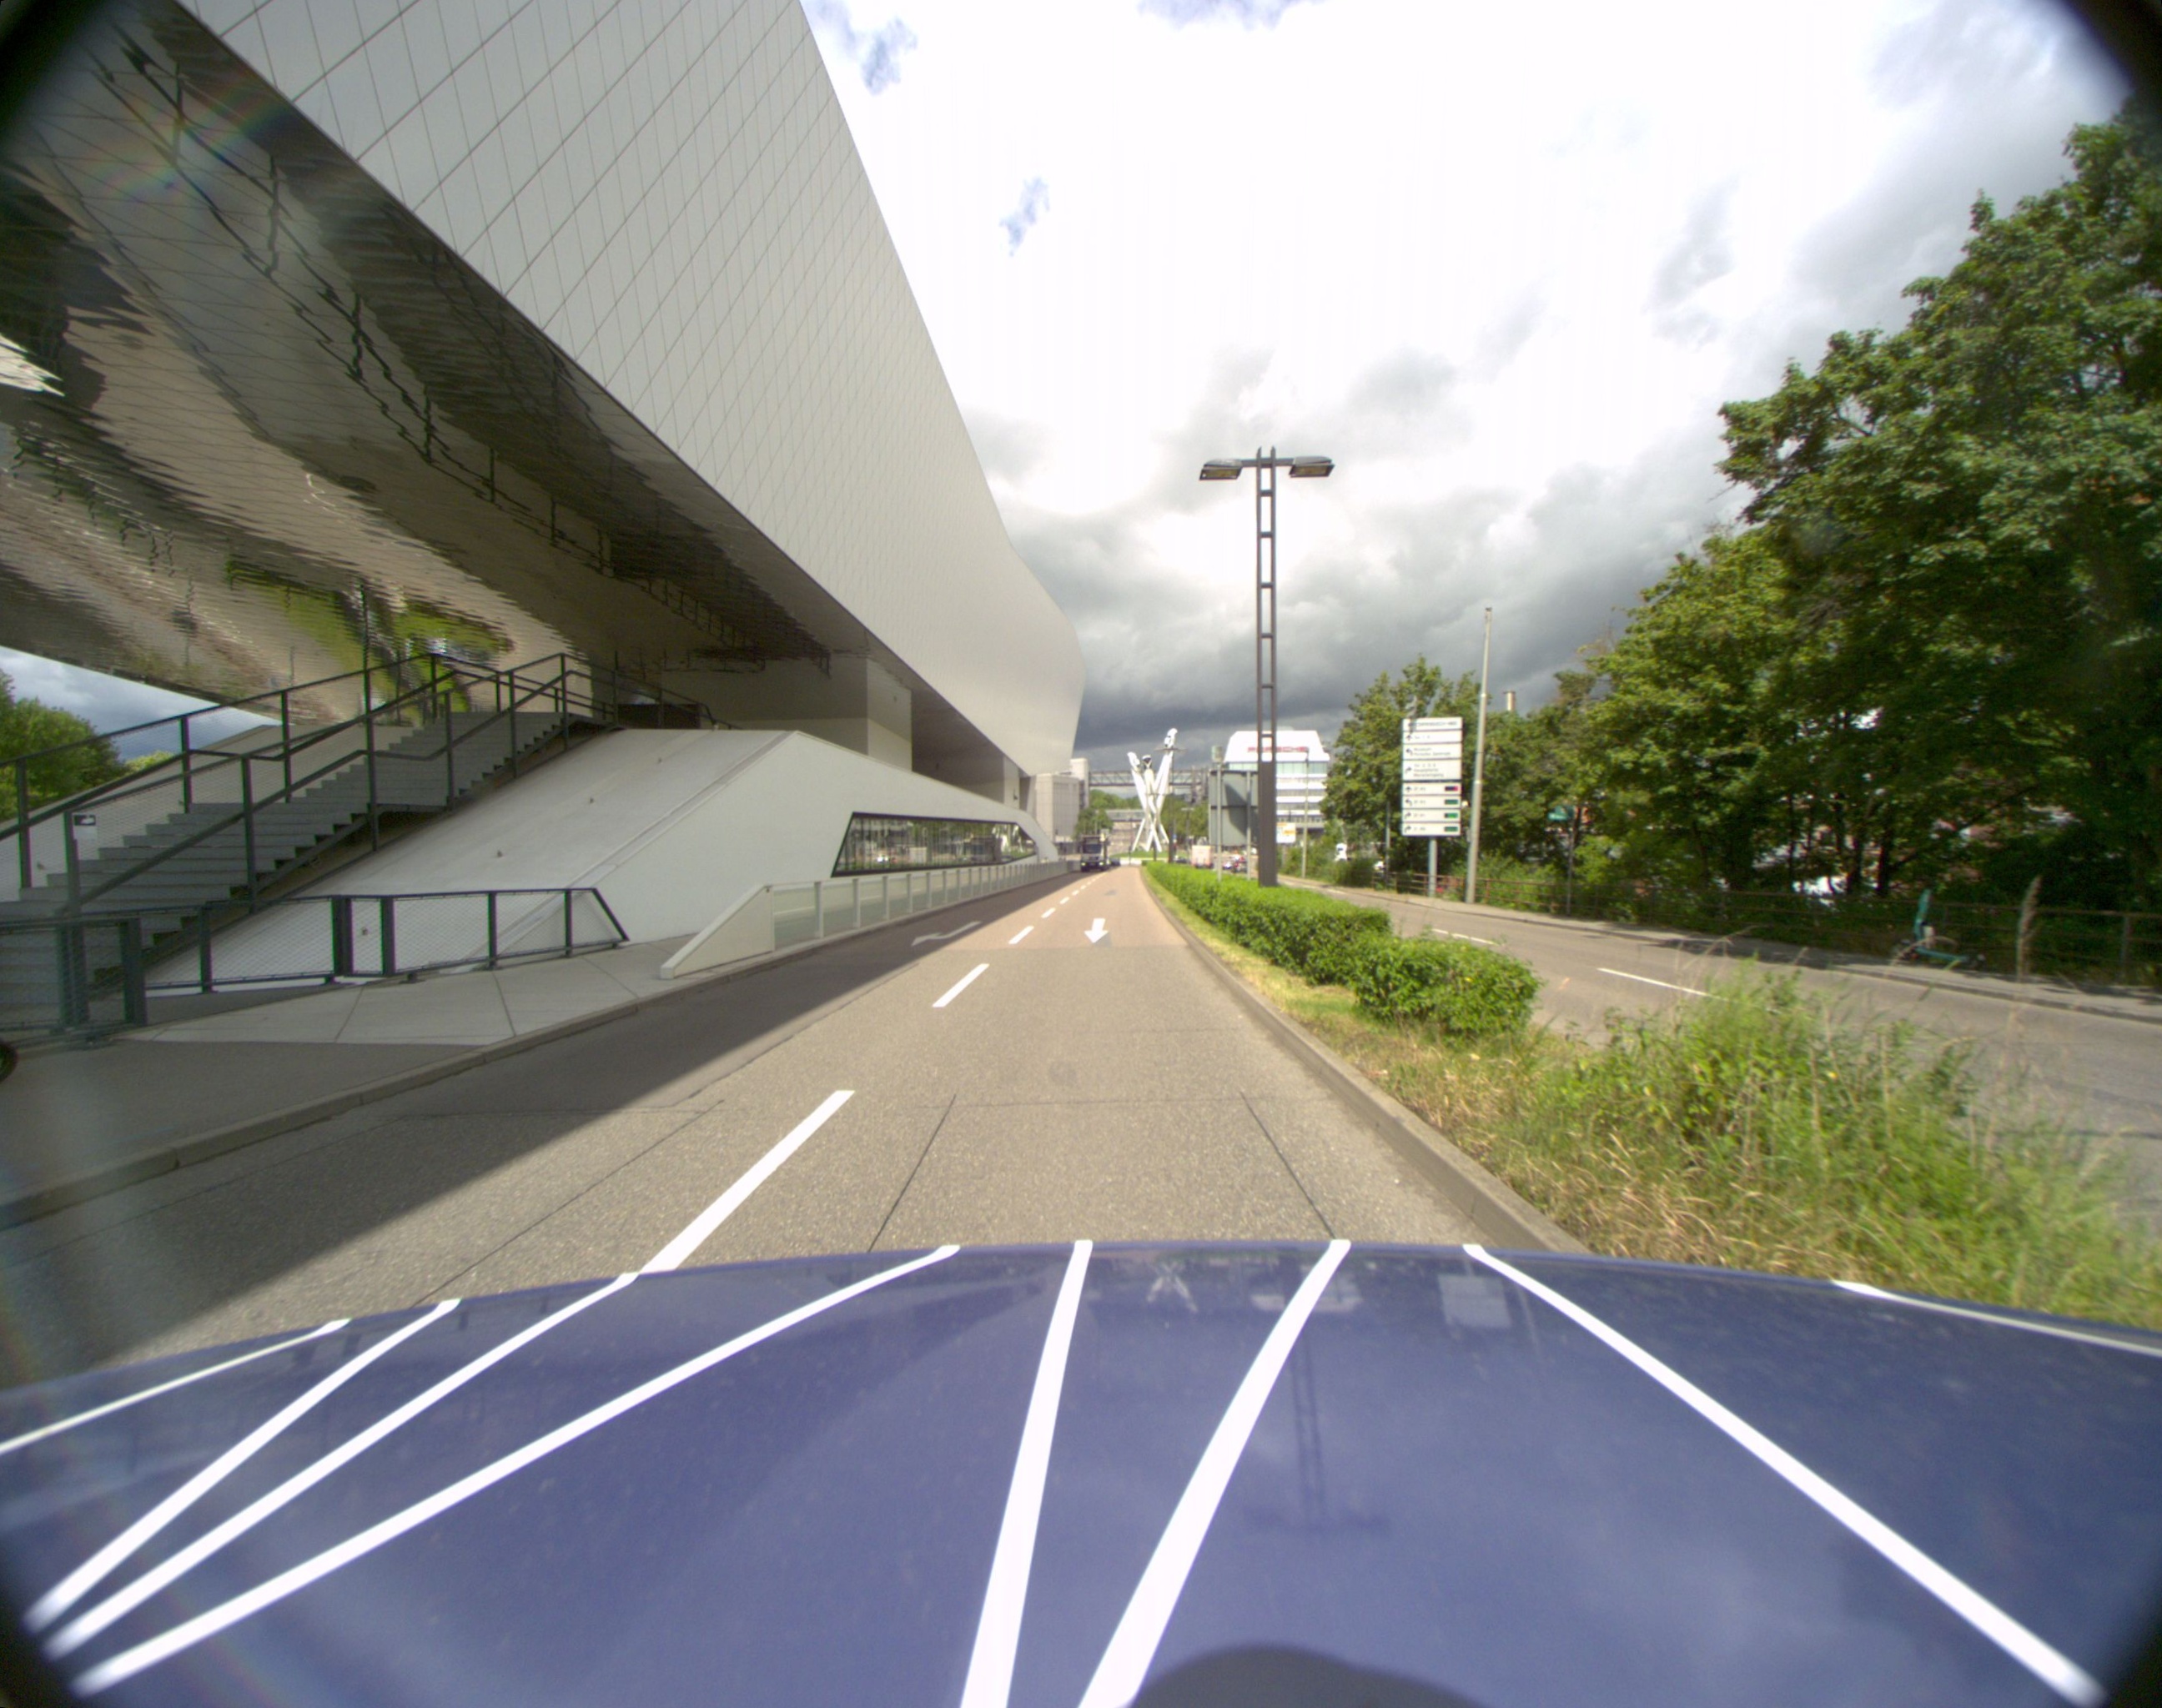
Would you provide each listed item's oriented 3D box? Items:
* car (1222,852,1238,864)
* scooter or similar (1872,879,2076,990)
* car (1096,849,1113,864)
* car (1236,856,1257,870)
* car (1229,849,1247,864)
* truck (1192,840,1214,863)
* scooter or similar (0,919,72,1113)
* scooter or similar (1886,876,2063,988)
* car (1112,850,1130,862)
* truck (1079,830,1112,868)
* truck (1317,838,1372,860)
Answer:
[{"bbox_3d":[19.704,0.488,100.521,1.798,1.414,4.496,1,1,14],"label":"car"},{"bbox_3d":[11.787,0.999,10.154,0.492,1.220,2.098,-3,1,8],"label":"scooter or similar"},{"bbox_3d":[3.042,0.261,96.905,1.986,1.703,4.760,-1,2,3],"label":"car"},{"bbox_3d":[17.911,0.980,82.468,1.843,1.499,4.563,0,0,7],"label":"car"},{"bbox_3d":[22.205,0.361,107.594,1.996,1.946,4.634,0,1,18],"label":"car"},{"bbox_3d":[16.851,-0.308,105.560,2.861,2.840,9.385,0,-1,8],"label":"truck"},{"bbox_3d":[-7.248,1.061,4.268,0.655,1.207,1.857,0,1,0],"label":"scooter or similar"},{"bbox_3d":[11.728,0.972,10.051,0.492,1.297,1.643,-2,0,5],"label":"scooter or similar"},{"bbox_3d":[6.064,0.244,115.020,1.820,1.663,4.238,-1,2,-9],"label":"car"},{"bbox_3d":[1.601,-0.524,79.348,2.842,3.669,10.755,0,1,4],"label":"truck"},{"bbox_3d":[46.430,-0.786,134.086,2.366,3.547,8.964,-2,0,-44],"label":"truck"}]
